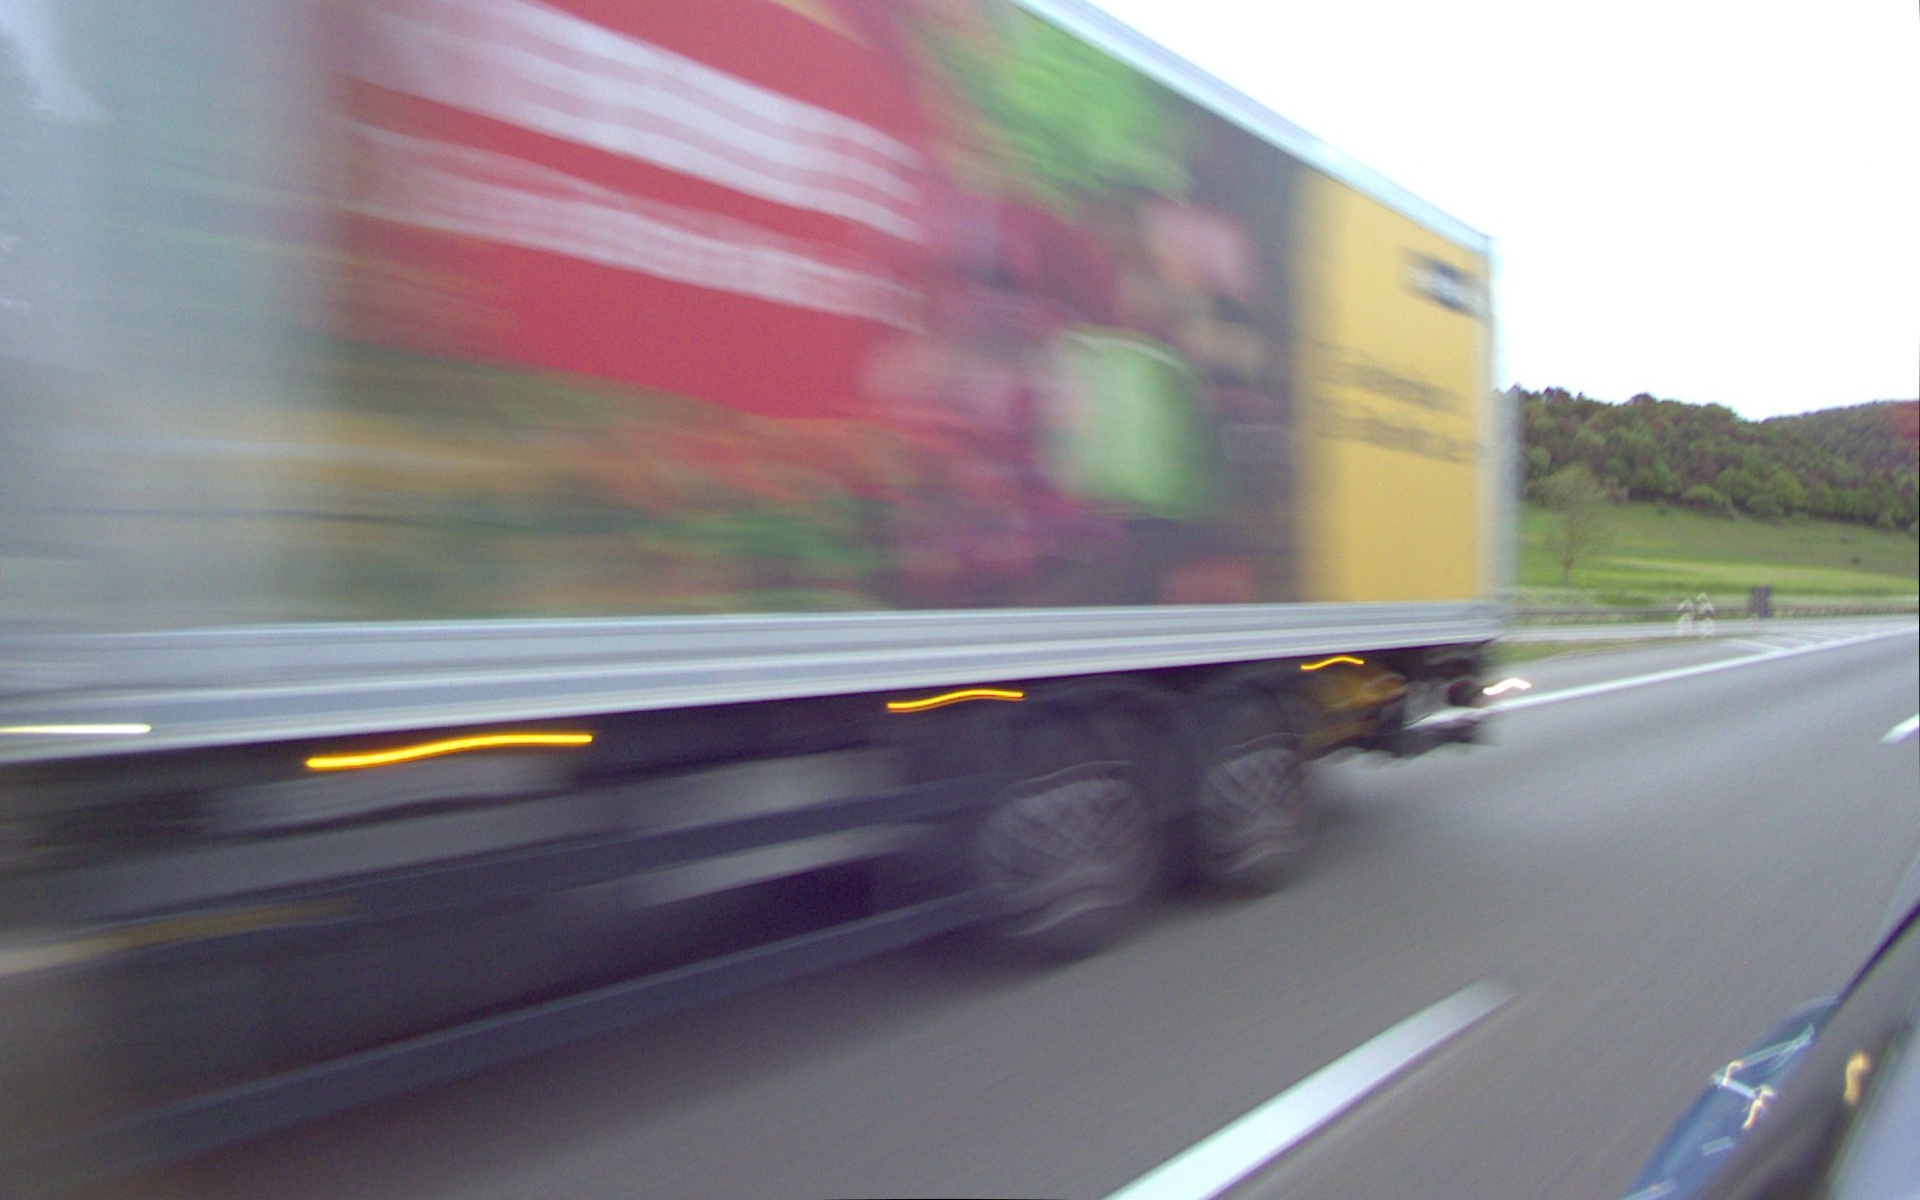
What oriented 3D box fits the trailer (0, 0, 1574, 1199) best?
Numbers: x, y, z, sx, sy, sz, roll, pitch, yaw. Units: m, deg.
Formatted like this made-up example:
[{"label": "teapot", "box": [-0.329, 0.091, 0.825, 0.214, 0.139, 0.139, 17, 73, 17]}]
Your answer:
[{"label": "trailer", "box": [0.113, -0.595, 5.125, 8.724, 3.874, 2.621, -1, 2, -42]}]
